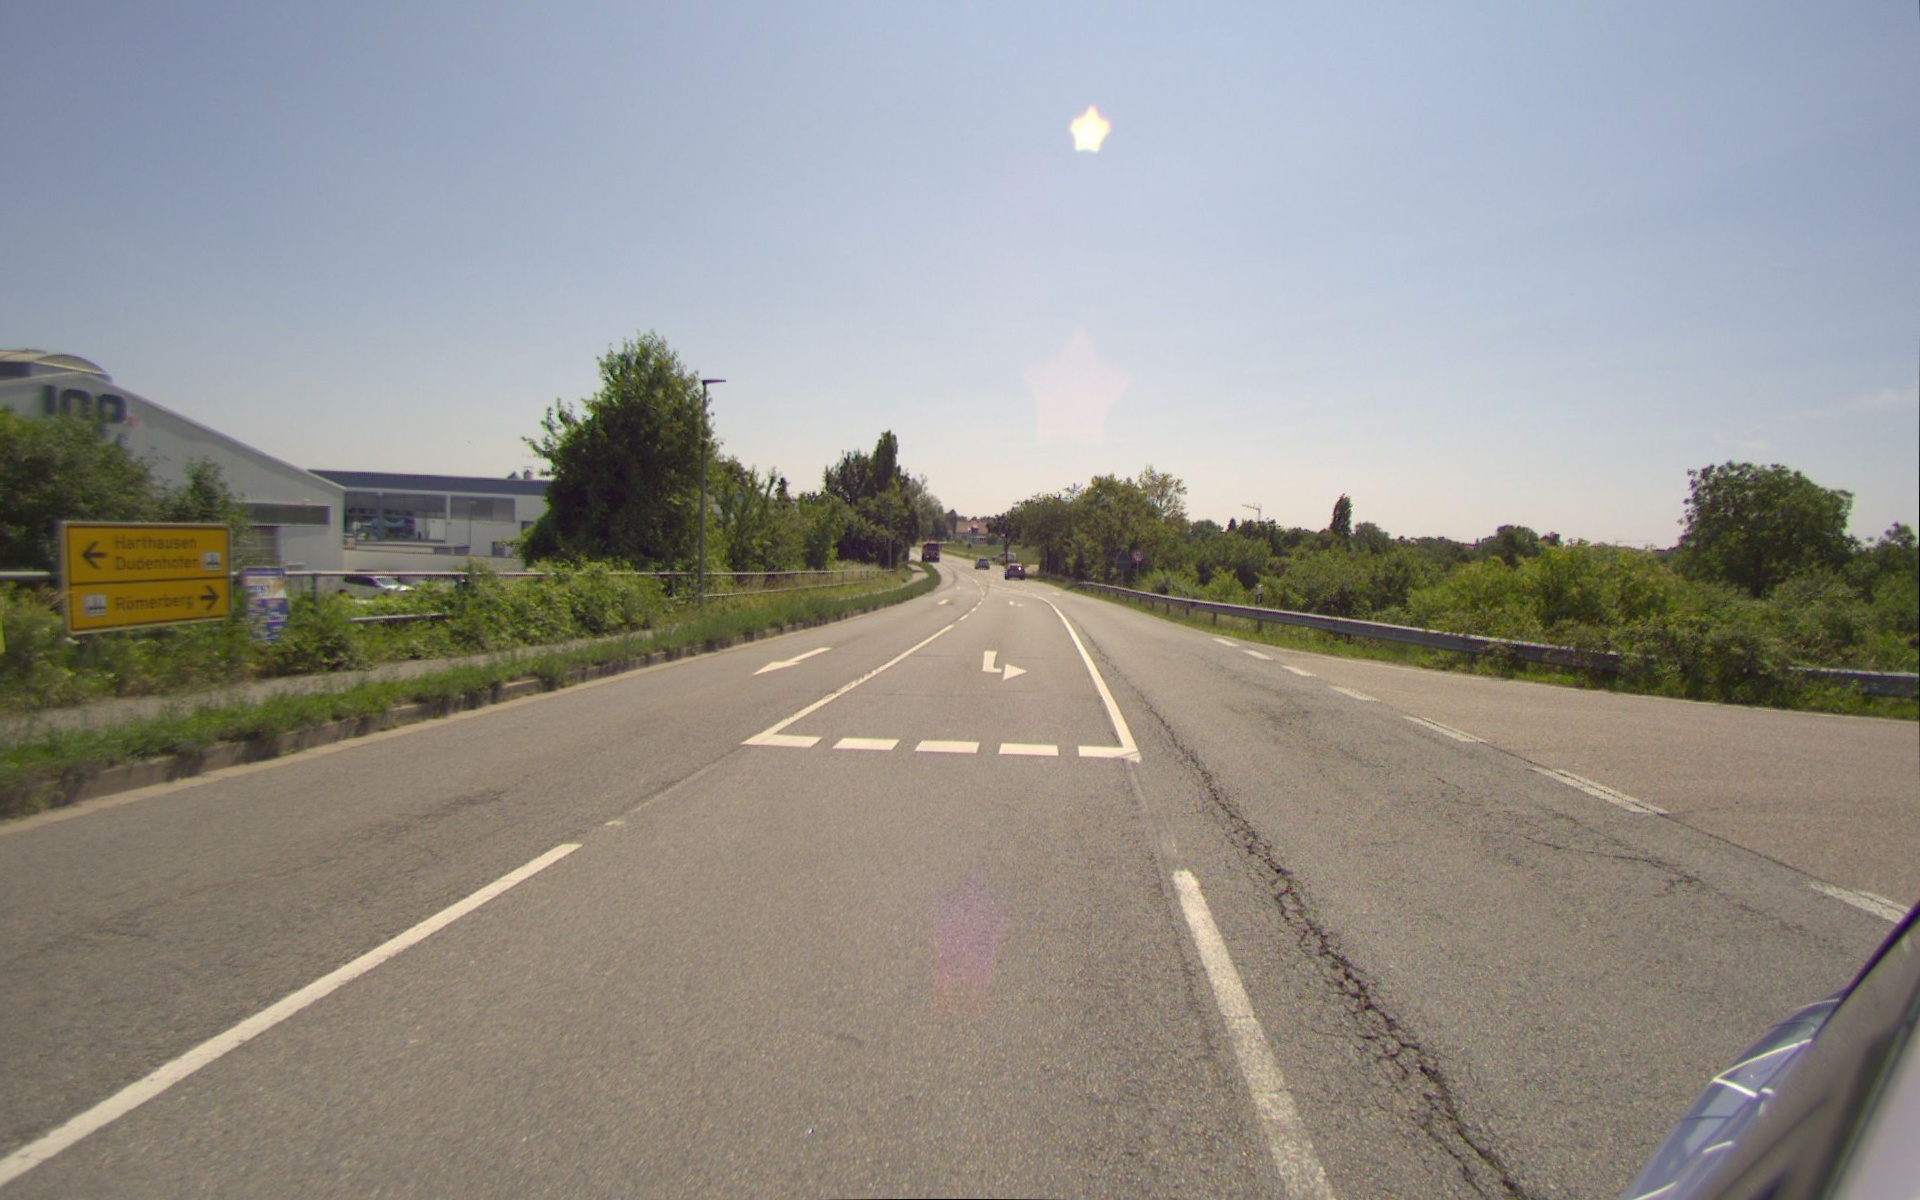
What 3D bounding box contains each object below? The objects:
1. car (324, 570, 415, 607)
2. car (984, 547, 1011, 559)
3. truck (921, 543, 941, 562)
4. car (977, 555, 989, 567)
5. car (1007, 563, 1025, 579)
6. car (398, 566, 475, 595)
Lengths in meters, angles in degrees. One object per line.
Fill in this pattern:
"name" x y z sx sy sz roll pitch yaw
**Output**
"car" -32.601 -0.651 55.902 4.067 1.744 1.730 2 4 3
"car" 6.574 -8.167 175.934 4.356 2.038 1.989 2 2 18
"truck" -4.723 -7.762 164.320 2.806 2.821 6.969 1 3 -4
"car" 3.203 -5.328 139.416 1.499 1.592 3.667 2 2 3
"car" 5.688 -2.959 103.279 1.765 1.603 4.488 2 1 3
"car" -32.831 -1.214 63.506 4.000 1.591 1.731 2 4 3
